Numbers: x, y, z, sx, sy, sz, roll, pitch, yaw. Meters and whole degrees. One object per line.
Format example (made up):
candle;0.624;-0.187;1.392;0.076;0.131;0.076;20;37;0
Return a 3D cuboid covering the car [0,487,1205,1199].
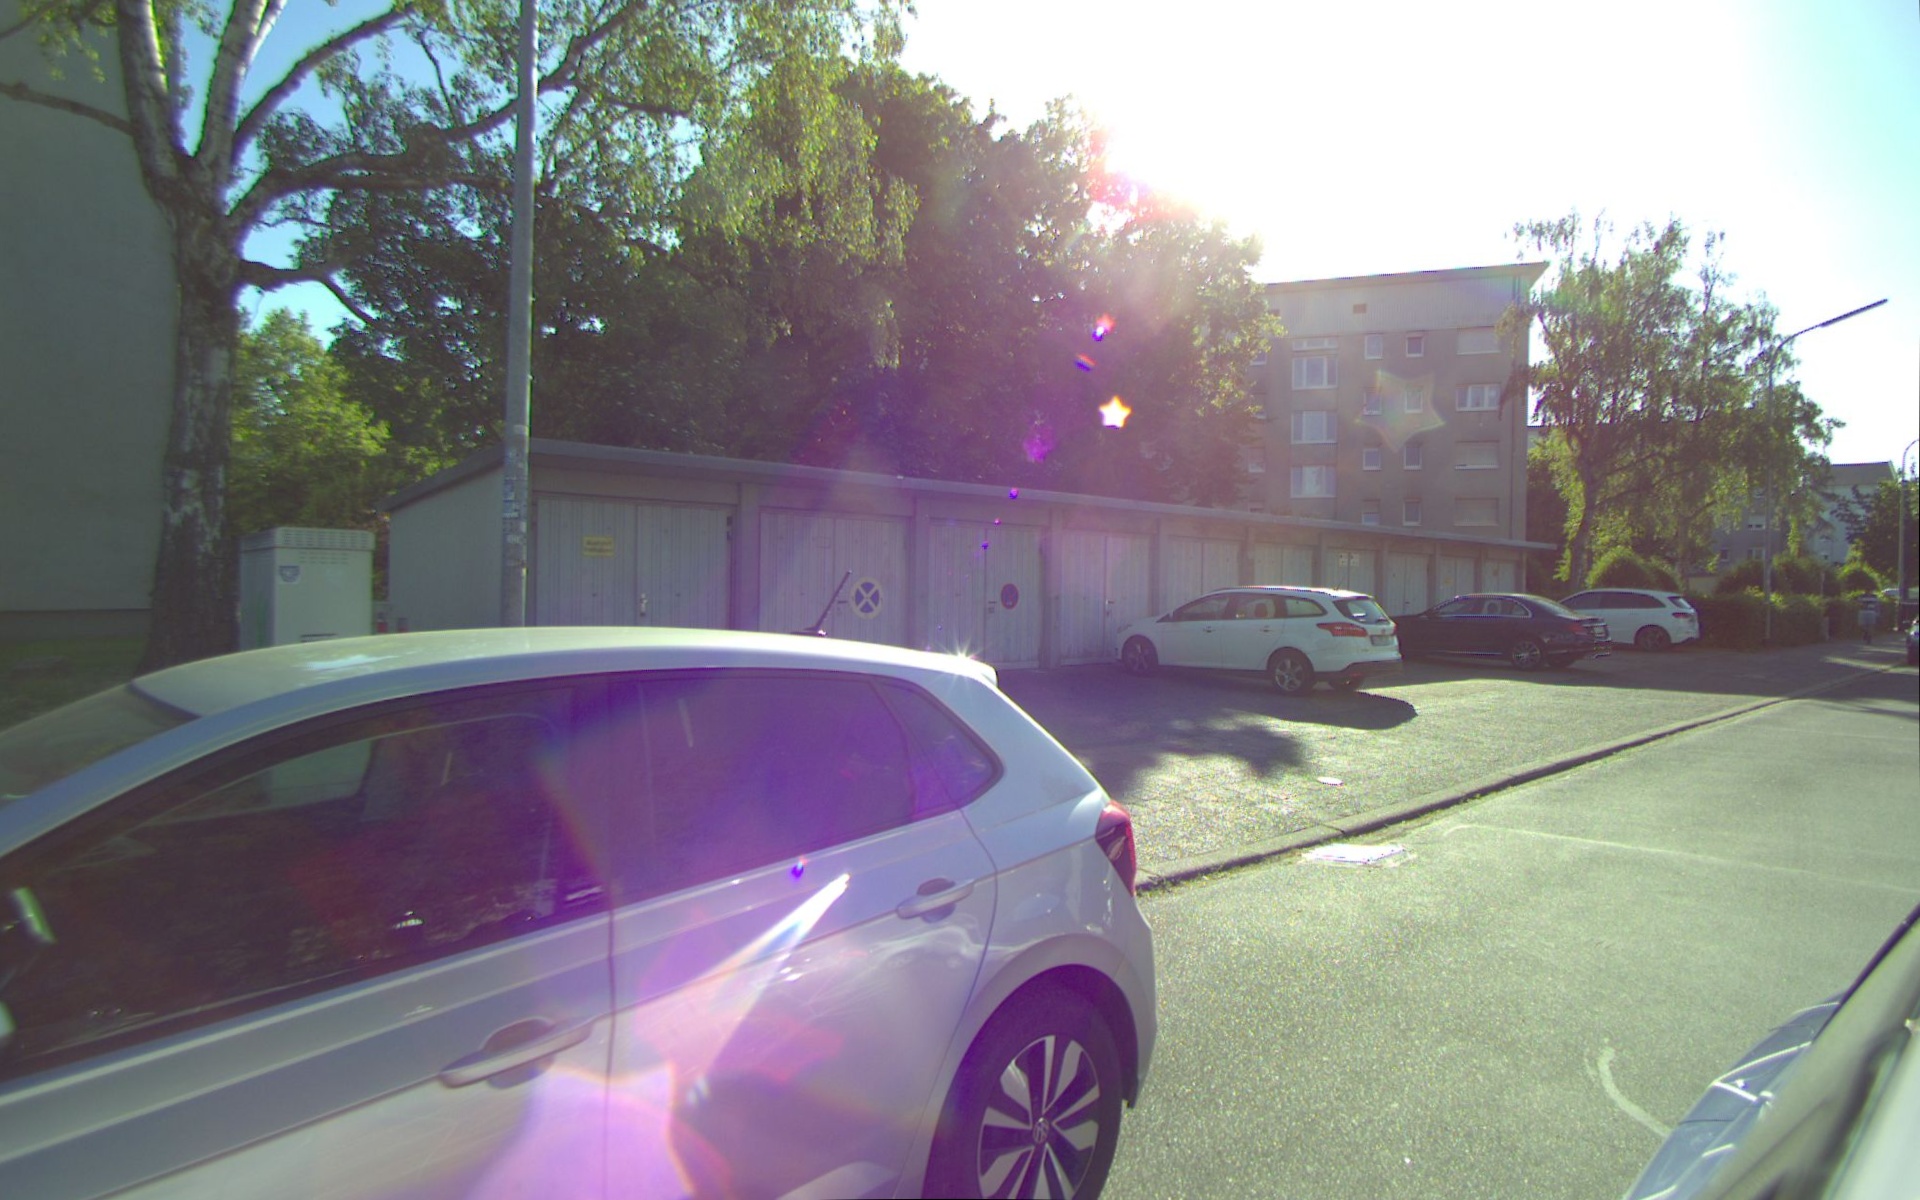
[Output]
car;-1.448;0.657;1.839;4.035;1.533;1.755;0;-1;-43

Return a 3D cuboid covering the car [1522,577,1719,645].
car;17.029;0.221;26.222;1.798;1.532;3.948;0;2;-43

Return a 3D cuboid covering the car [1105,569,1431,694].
car;4.440;0.346;15.216;1.796;1.532;4.425;0;2;-39

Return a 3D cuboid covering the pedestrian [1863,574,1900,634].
pedestrian;30.126;0.120;33.094;0.857;1.911;0.705;0;3;-39

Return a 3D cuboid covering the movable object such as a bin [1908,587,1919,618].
movable object such as a bin;41.360;0.136;43.083;1.359;1.325;1.031;1;4;-30

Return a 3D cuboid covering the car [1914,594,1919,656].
car;24.218;0.569;24.263;3.829;1.421;1.733;0;0;-43

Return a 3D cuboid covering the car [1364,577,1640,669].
car;10.695;0.371;20.272;1.796;1.532;4.525;0;2;-39
